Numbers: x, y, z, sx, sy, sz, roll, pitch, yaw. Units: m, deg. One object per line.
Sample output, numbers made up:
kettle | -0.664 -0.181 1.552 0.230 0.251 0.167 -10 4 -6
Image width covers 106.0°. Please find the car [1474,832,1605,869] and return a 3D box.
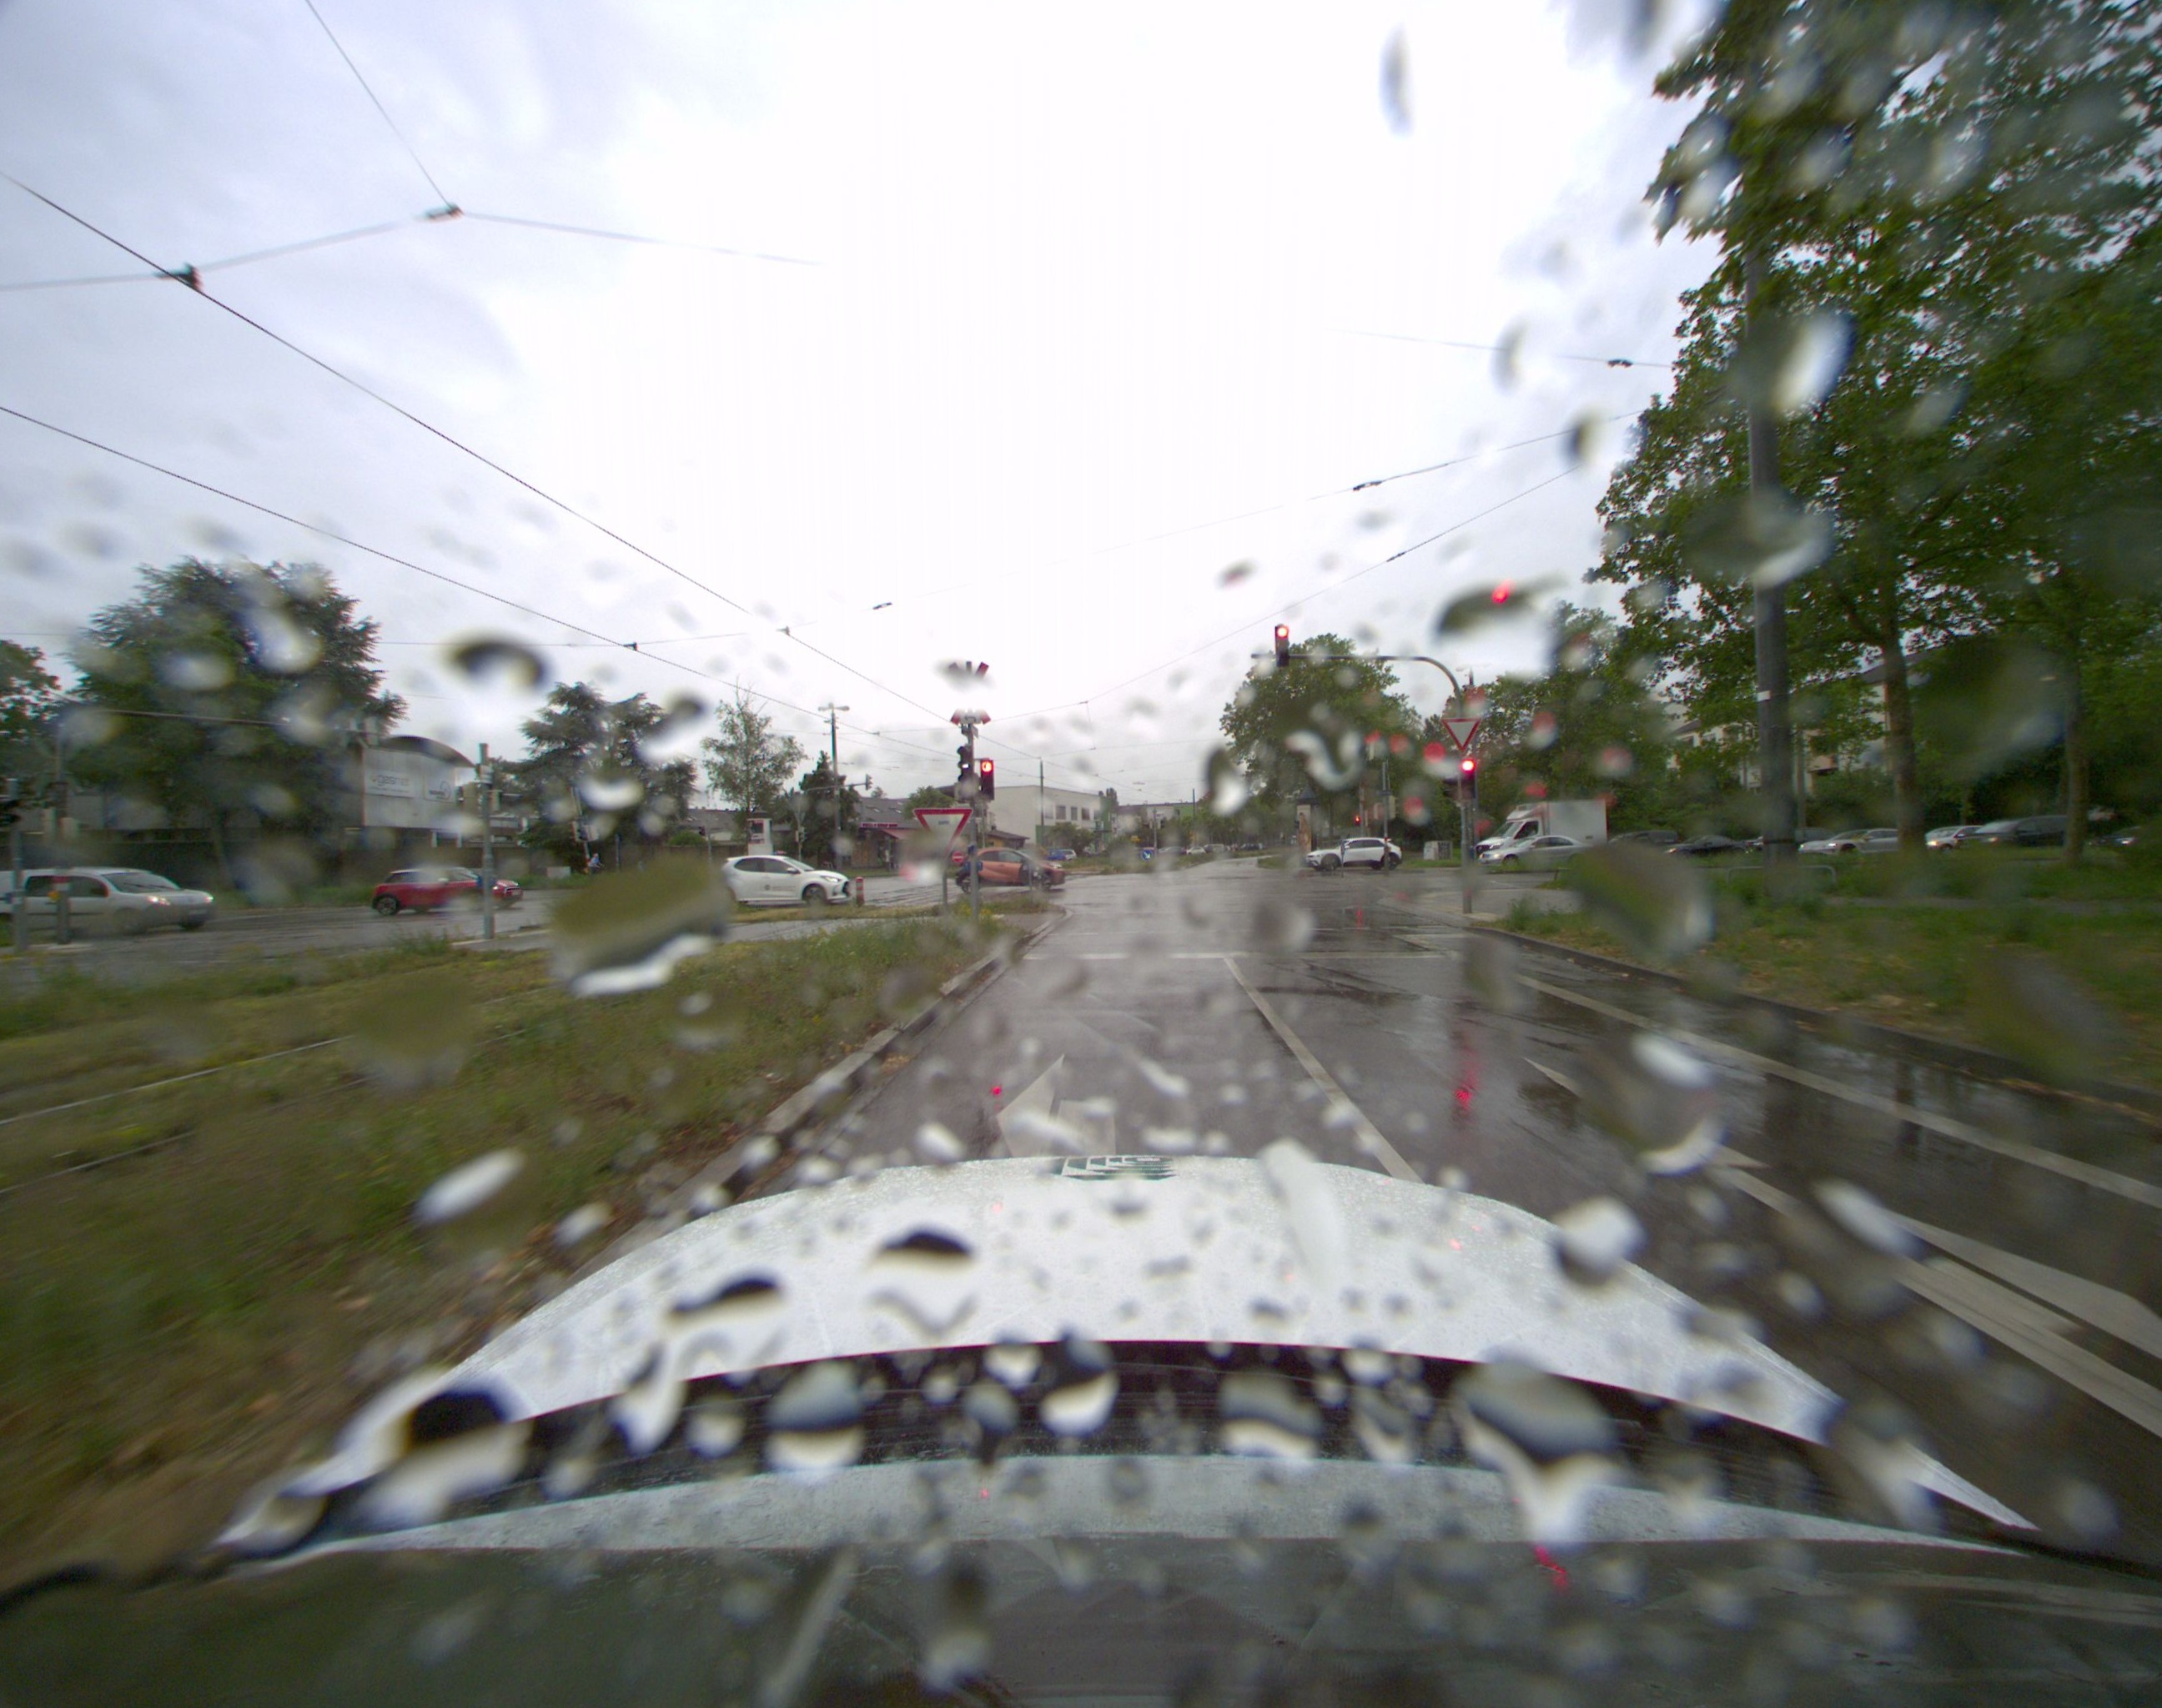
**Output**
car | 18.883 -0.142 33.631 4.498 1.390 1.644 -2 0 -1

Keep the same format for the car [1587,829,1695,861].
car | 28.038 -0.449 40.882 4.186 1.422 1.766 -2 0 1

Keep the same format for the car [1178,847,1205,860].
car | 18.058 -0.083 133.375 4.124 1.860 1.672 -2 0 -2

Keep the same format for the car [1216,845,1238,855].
car | 28.640 -0.737 160.122 4.111 1.860 1.678 -2 0 9

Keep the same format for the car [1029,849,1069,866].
car | -3.061 0.322 77.458 3.743 1.442 1.760 -2 0 -4

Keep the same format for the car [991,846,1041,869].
car | -5.797 0.319 72.597 4.111 1.860 1.678 -2 0 9

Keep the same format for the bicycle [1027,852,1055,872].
bicycle | -2.335 0.439 47.548 1.554 1.101 0.500 -2 0 4

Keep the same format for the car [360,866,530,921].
car | -20.218 1.229 26.046 3.908 1.498 1.646 -2 1 -11

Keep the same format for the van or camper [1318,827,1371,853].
van or camper | 27.771 -1.508 85.919 5.176 2.697 2.255 0 1 20

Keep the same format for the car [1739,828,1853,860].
car | 35.722 -0.482 40.745 4.107 1.422 1.766 -2 0 0

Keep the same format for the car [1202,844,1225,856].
car | 24.589 -0.724 151.018 4.111 1.975 1.678 -2 0 9

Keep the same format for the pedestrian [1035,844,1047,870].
pedestrian | -2.335 0.171 47.547 0.573 1.475 0.500 -2 0 4

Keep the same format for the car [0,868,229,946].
car | -25.819 1.368 21.623 4.206 1.796 1.648 -2 1 -8

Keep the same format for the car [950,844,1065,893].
car | -2.499 0.492 28.133 3.810 1.499 1.650 -2 0 -4

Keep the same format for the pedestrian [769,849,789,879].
pedestrian | -18.025 0.597 48.653 0.807 1.763 0.898 -2 0 -42

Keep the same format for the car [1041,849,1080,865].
car | -2.046 0.277 80.711 3.743 1.442 1.760 -2 0 -4

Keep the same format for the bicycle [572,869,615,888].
bicycle | -27.202 1.353 45.446 1.953 0.966 0.641 -2 0 -2

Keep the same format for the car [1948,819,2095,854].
car | 42.379 -0.763 36.773 4.647 1.422 1.765 -2 0 -1

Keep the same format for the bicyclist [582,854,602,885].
bicyclist | -27.281 0.871 45.459 0.682 1.683 0.641 -2 0 -2

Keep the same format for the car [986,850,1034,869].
car | -6.008 0.482 69.143 3.732 1.442 1.765 -2 0 5

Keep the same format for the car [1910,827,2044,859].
car | 43.928 -0.545 39.987 4.647 1.422 1.765 -2 0 -1

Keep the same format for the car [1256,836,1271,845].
car | 48.761 -3.590 217.614 3.415 2.013 1.816 -2 0 19

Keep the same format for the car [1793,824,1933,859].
car | 35.309 -0.563 36.840 4.647 1.422 1.765 -2 0 -1

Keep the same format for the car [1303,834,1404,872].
car | 13.506 -0.040 40.488 4.451 1.656 1.650 -2 0 -4

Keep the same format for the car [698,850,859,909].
car | -8.761 0.716 23.848 4.059 1.499 1.649 -2 0 -5

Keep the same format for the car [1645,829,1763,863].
car | 28.046 -0.352 36.749 4.097 1.390 1.644 -2 0 -1

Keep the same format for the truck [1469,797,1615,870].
truck | 20.803 -0.920 36.886 5.451 3.058 1.981 -2 0 -1
